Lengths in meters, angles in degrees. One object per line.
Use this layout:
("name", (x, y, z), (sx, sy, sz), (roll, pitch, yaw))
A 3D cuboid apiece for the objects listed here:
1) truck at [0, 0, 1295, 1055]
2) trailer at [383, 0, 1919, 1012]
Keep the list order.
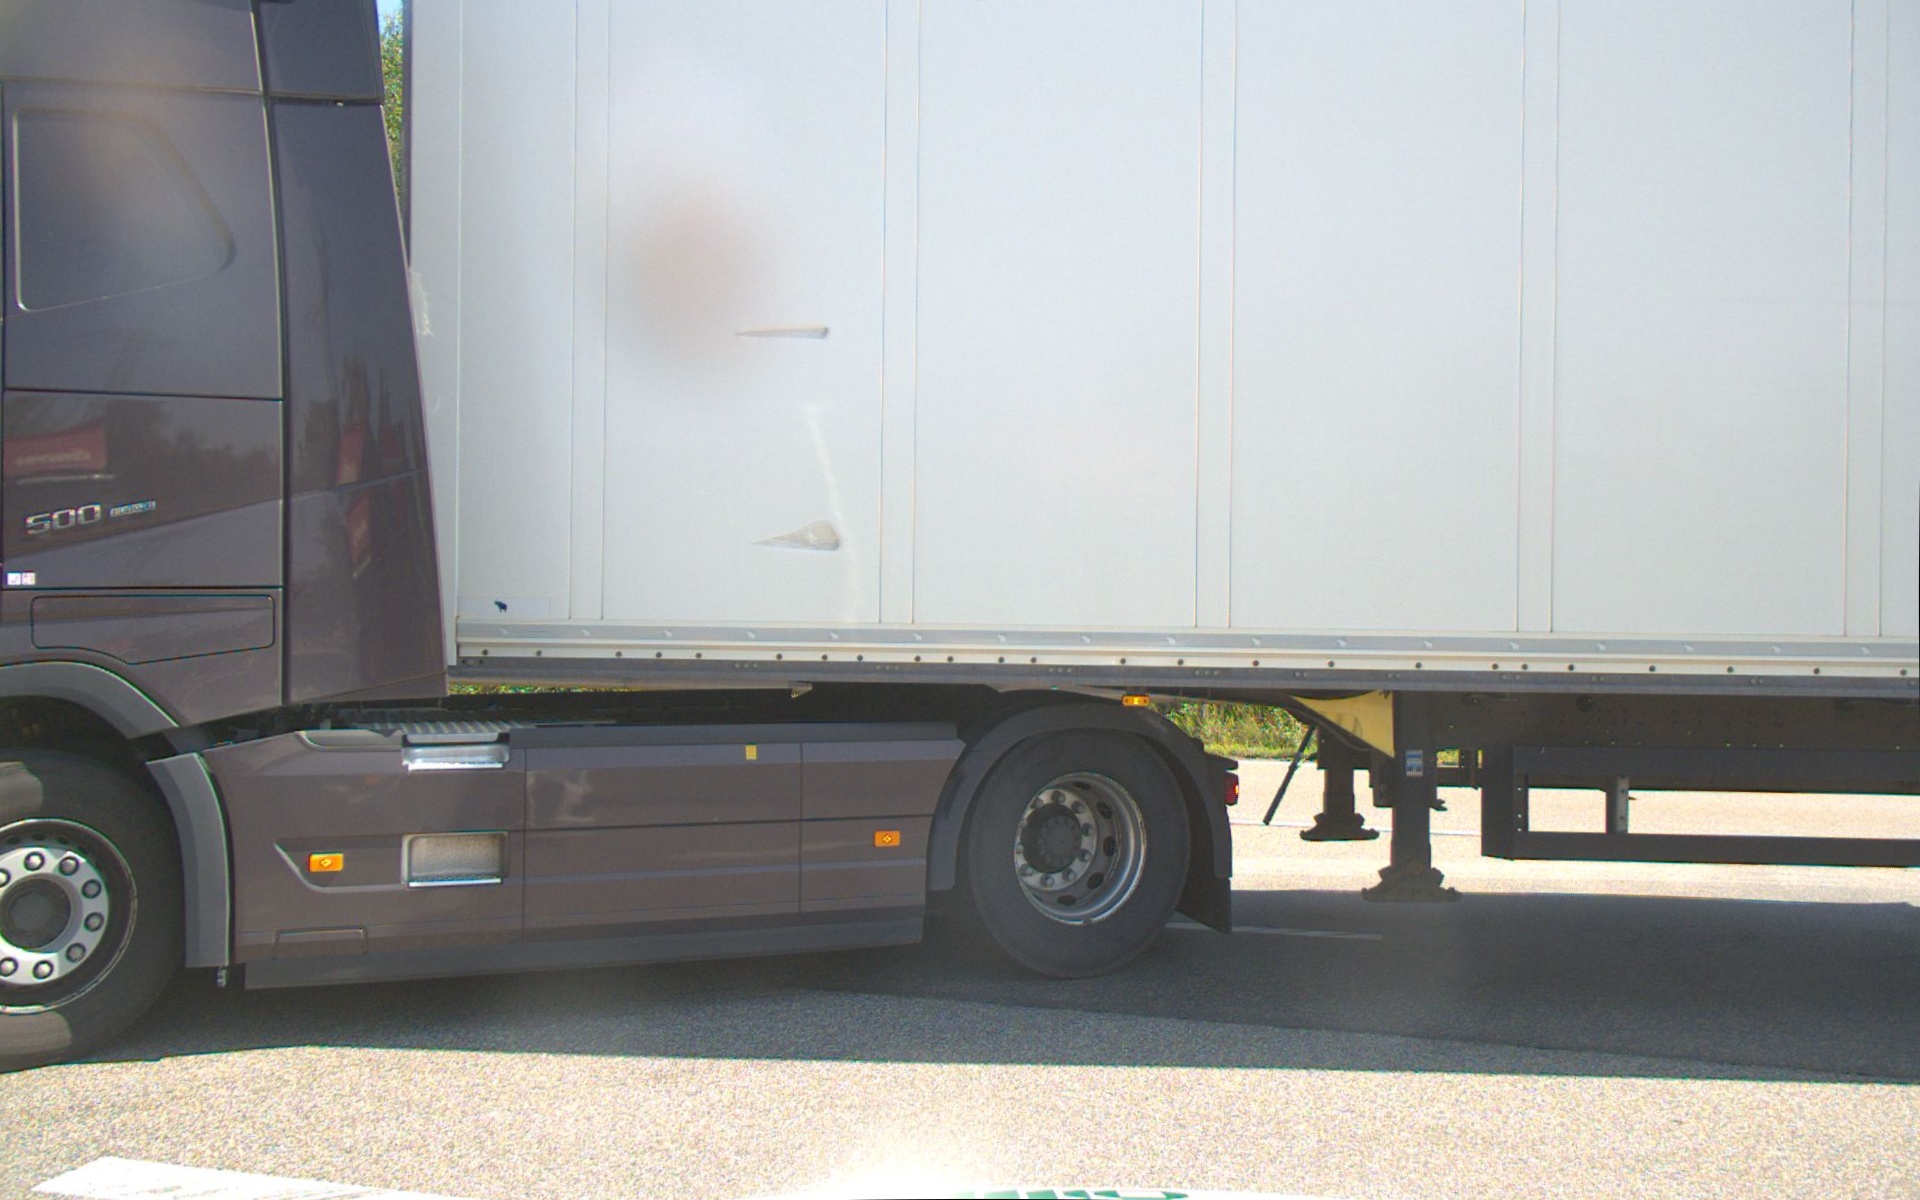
("truck", (-1.933, -0.750, 6.789), (5.862, 4.246, 2.864), (1, 0, -20))
("trailer", (4.771, -0.674, 7.192), (13.642, 4.238, 2.898), (0, 0, 3))
